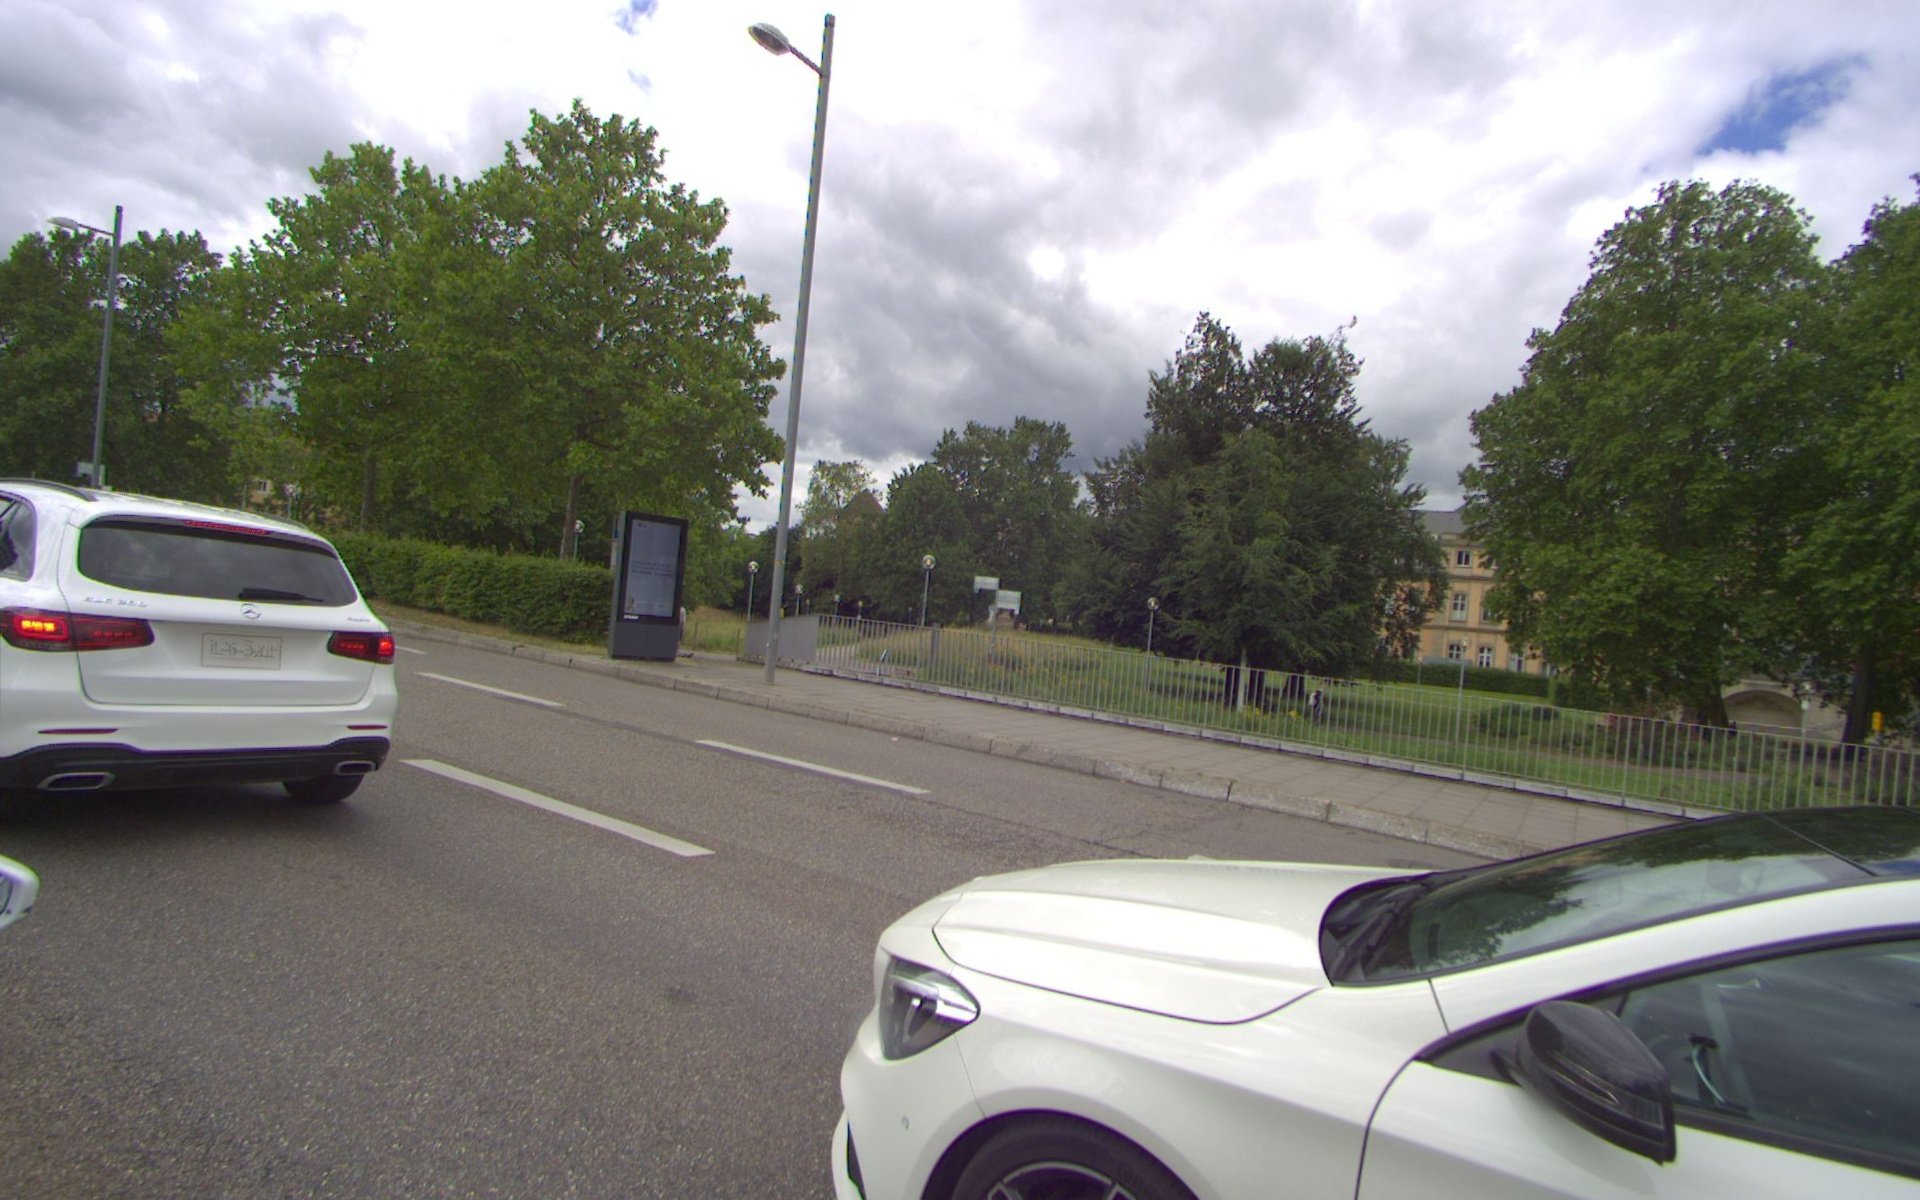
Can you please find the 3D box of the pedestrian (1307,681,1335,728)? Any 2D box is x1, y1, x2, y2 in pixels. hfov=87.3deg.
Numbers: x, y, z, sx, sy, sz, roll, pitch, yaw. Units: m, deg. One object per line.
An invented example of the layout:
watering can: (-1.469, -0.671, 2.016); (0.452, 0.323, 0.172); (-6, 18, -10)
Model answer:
pedestrian: (13.317, 3.837, 37.111); (0.645, 1.619, 0.684); (6, -2, -1)

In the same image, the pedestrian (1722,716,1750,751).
pedestrian: (48.438, 8.302, 62.818); (0.925, 2.036, 1.107); (6, -2, 16)

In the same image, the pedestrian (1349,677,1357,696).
pedestrian: (37.496, 8.281, 96.006); (0.460, 1.725, 0.405); (5, -2, 32)

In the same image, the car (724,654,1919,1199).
car: (1.845, 1.093, 1.837); (4.454, 1.436, 1.796); (5, -2, 33)

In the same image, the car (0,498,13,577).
car: (-22.607, -1.601, 21.773); (4.234, 1.659, 1.996); (7, -1, 33)

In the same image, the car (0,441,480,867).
car: (-5.077, 0.104, 5.920); (4.417, 1.673, 1.929); (6, -1, 33)

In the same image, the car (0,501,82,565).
car: (-26.823, -1.940, 28.517); (4.459, 1.476, 1.932); (5, -3, 37)

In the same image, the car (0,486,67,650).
car: (-11.413, -0.542, 10.505); (4.417, 1.569, 1.929); (6, -2, 33)
